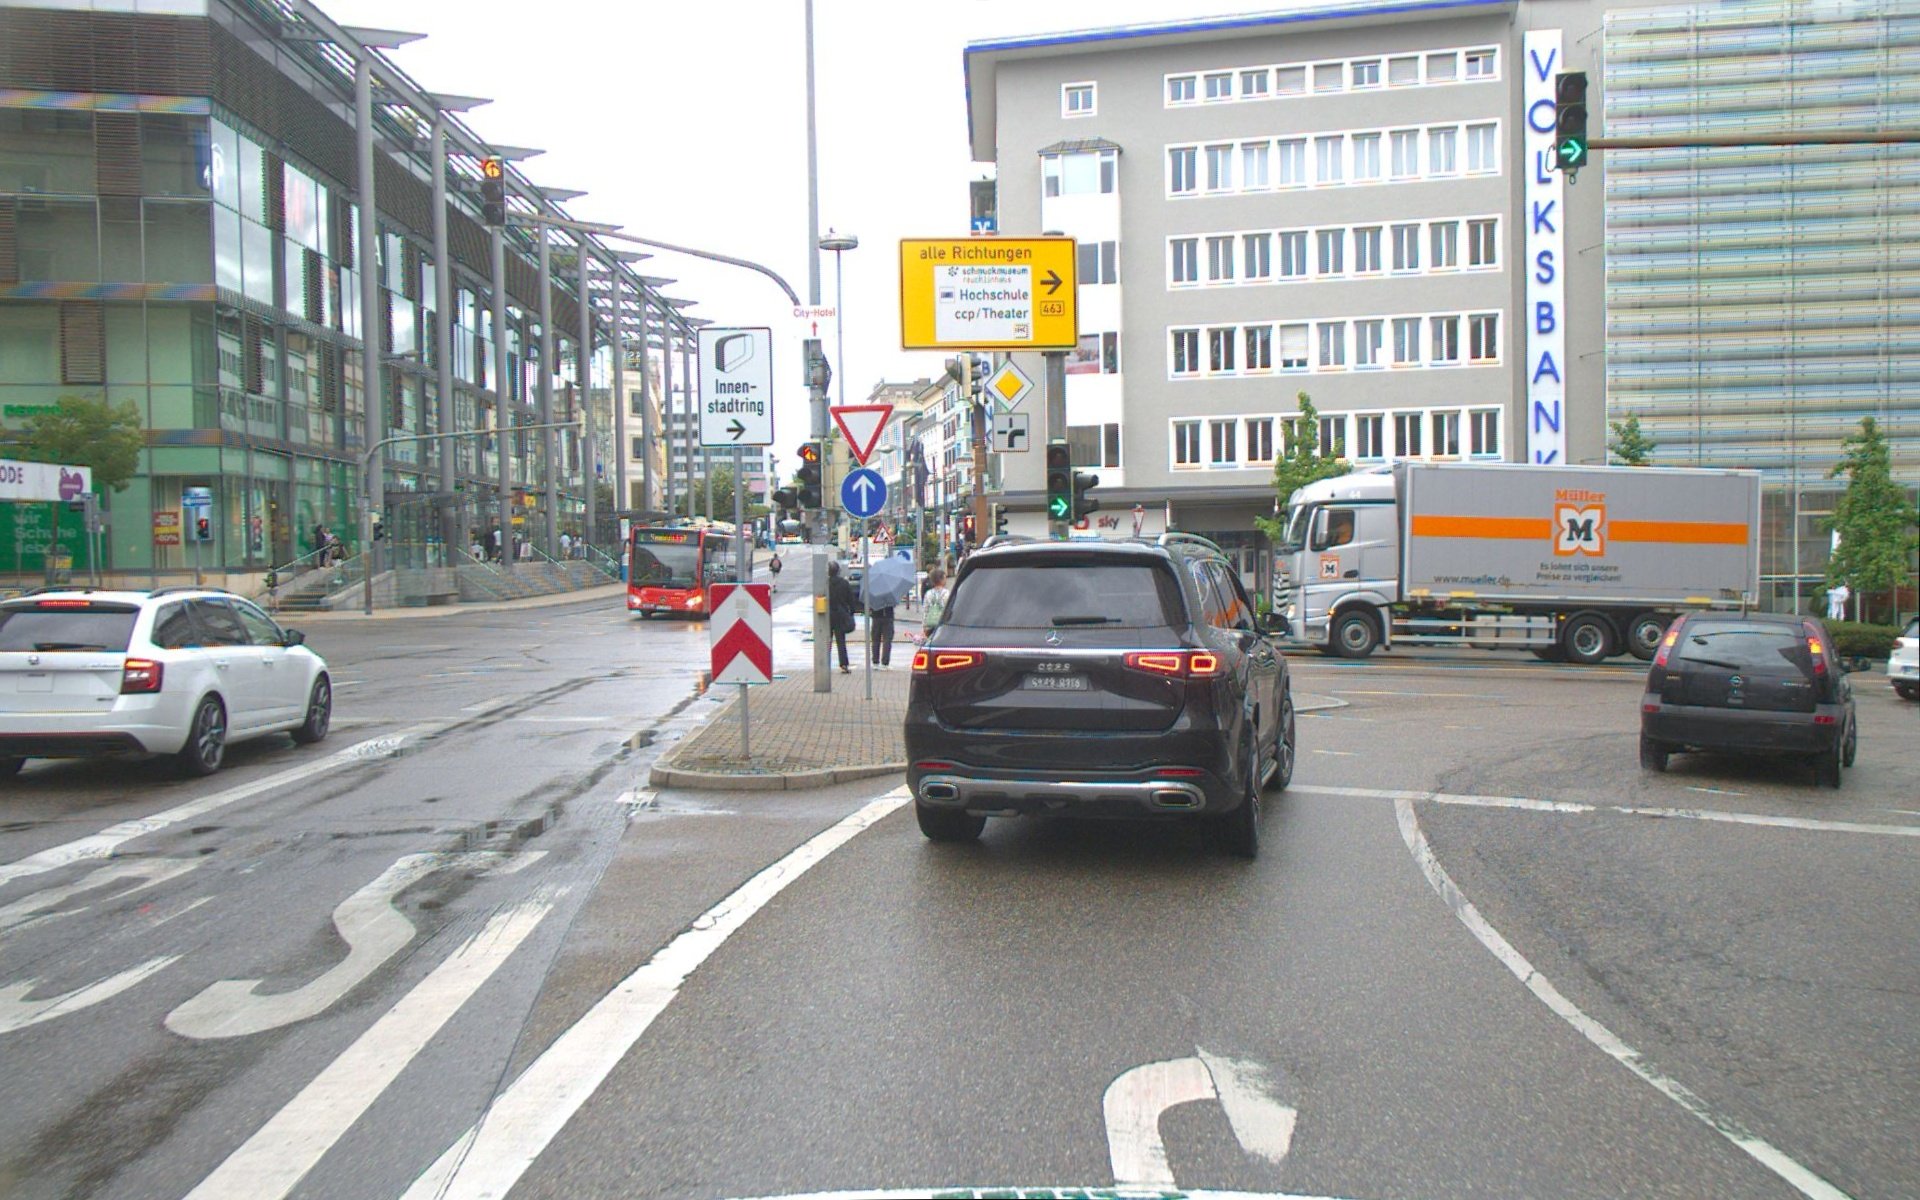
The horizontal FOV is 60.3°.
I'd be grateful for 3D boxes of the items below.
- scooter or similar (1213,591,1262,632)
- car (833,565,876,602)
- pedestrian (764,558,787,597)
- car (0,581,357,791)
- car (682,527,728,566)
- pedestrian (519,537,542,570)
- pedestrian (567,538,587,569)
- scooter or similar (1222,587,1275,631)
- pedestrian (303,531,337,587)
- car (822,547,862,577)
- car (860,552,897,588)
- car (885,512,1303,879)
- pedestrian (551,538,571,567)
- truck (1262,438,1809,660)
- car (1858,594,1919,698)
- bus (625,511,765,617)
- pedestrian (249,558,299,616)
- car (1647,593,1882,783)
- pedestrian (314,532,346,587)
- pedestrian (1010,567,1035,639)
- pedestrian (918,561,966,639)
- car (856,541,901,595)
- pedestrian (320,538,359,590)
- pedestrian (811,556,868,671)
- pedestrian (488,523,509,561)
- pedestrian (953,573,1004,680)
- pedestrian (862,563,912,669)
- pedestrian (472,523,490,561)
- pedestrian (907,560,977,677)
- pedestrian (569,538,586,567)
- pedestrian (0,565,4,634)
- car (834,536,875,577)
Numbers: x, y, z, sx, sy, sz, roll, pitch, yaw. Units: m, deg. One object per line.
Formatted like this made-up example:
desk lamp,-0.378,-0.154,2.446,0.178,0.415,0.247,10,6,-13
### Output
scooter or similar,8.175,0.335,48.651,1.350,1.207,0.544,0,0,17
car,-4.699,-0.757,74.250,1.702,1.554,3.999,1,1,-1
pedestrian,-9.236,-1.111,82.834,0.934,1.919,0.810,1,1,4
car,-6.737,0.584,14.025,1.756,1.440,4.629,0,1,-3
car,-14.353,-3.004,93.394,2.198,2.070,5.351,1,1,-5
pedestrian,-22.822,-2.452,87.880,1.019,1.742,1.006,0,0,-8
pedestrian,-21.718,-2.644,93.732,1.019,1.742,1.006,0,0,-8
scooter or similar,8.779,0.269,50.321,1.465,1.278,0.931,1,2,17
pedestrian,-23.235,-1.488,60.043,0.863,2.015,0.974,0,0,-3
car,-7.538,-2.424,106.013,2.374,1.811,5.152,1,1,-3
car,-4.436,-1.637,89.600,1.824,1.858,4.100,1,1,-5
car,1.153,0.415,10.988,2.043,1.848,4.797,1,2,13
pedestrian,-23.793,-2.822,98.636,1.019,1.742,1.006,0,0,-8
truck,11.896,-1.065,34.922,10.514,4.409,2.856,0,1,1
car,16.869,0.753,26.964,3.935,1.601,1.942,0,2,-25
bus,-9.634,-1.261,62.552,2.861,3.378,18.472,1,1,-2
pedestrian,-21.234,-0.406,51.229,1.018,1.742,1.007,1,0,25
car,7.479,0.754,15.391,1.684,1.445,3.765,3,0,27
pedestrian,-23.246,-1.496,61.006,0.857,2.015,0.849,0,0,-3
pedestrian,1.472,0.067,38.918,0.557,1.698,0.502,0,0,4
pedestrian,-0.435,-0.005,39.267,0.991,1.818,0.852,1,1,-9
car,-4.785,-1.847,96.147,2.396,3.009,6.148,1,1,-4
pedestrian,-21.222,-1.223,56.587,1.019,1.742,1.006,0,0,-8
pedestrian,-1.859,0.210,25.666,0.767,1.741,0.707,1,-1,2
pedestrian,-21.644,-2.728,77.567,0.812,1.742,0.801,0,0,-8
pedestrian,0.278,0.382,24.003,0.690,1.514,0.560,1,-1,2
pedestrian,-1.210,0.263,27.580,0.740,1.721,0.694,1,-1,2
pedestrian,-22.406,-2.701,77.354,0.668,1.742,0.849,0,0,-8
pedestrian,-0.261,0.268,24.872,0.958,1.701,0.915,1,1,3
pedestrian,-22.835,-2.841,98.776,0.920,1.742,0.990,0,0,-7
pedestrian,-22.950,-0.005,38.361,0.853,1.614,1.154,0,0,1
car,-9.371,-3.835,147.756,2.392,3.525,6.158,1,1,8
